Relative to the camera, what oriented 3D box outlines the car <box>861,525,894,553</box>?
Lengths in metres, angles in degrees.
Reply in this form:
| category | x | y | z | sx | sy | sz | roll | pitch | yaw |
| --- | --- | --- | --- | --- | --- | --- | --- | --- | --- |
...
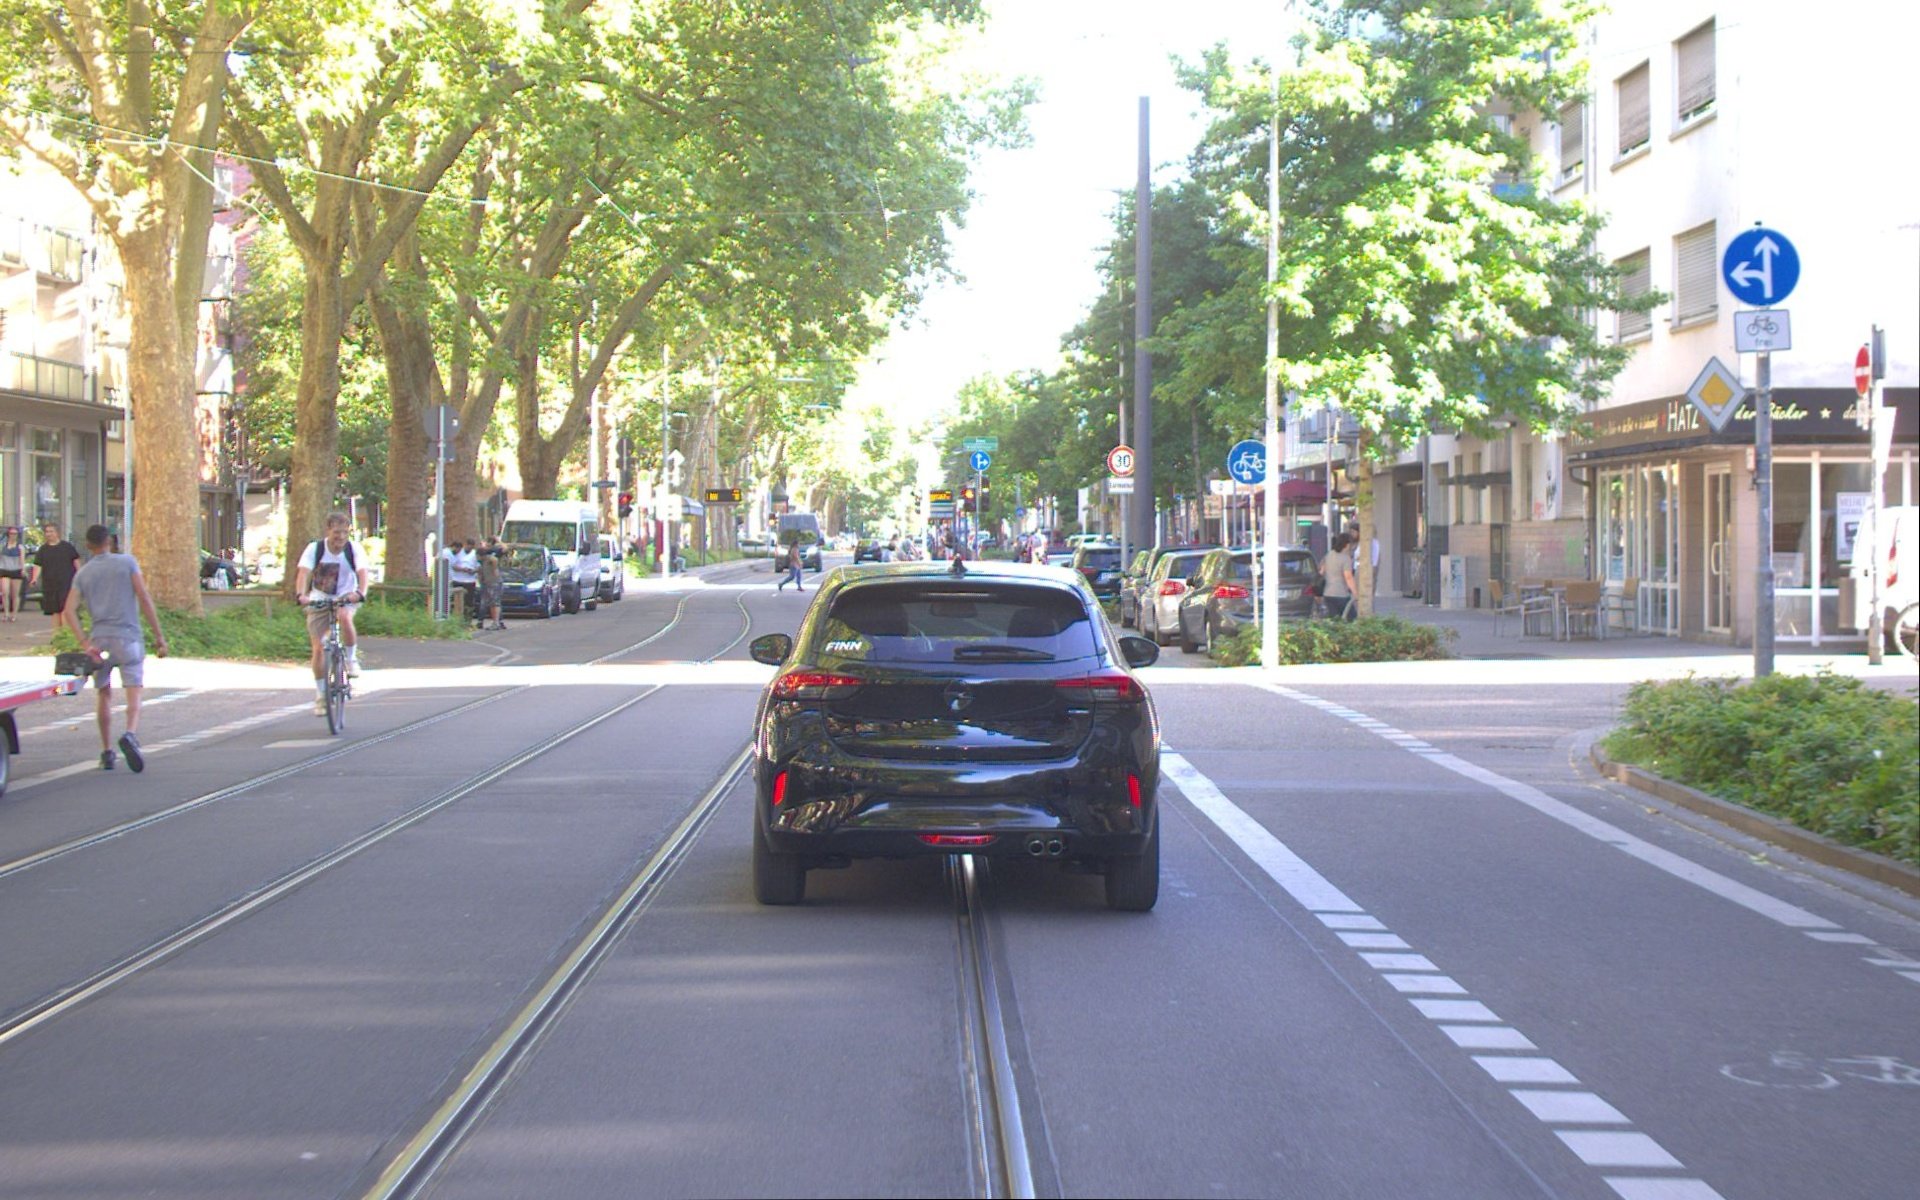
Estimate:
| category | x | y | z | sx | sy | sz | roll | pitch | yaw |
| --- | --- | --- | --- | --- | --- | --- | --- | --- | --- |
| car | -4.786 | -3.566 | 200.613 | 1.750 | 1.646 | 4.000 | 0 | 1 | 1 |

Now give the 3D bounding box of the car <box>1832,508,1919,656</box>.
| category | x | y | z | sx | sy | sz | roll | pitch | yaw |
| --- | --- | --- | --- | --- | --- | --- | --- | --- | --- |
| car | 13.513 | -0.255 | 43.577 | 4.358 | 1.824 | 2.000 | 0 | 1 | -4 |

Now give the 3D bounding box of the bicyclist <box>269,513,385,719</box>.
| category | x | y | z | sx | sy | sz | roll | pitch | yaw |
| --- | --- | --- | --- | --- | --- | --- | --- | --- | --- |
| bicyclist | -5.229 | 0.119 | 28.434 | 0.784 | 1.672 | 0.957 | 0 | 1 | -1 |

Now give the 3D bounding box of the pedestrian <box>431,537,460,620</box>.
| category | x | y | z | sx | sy | sz | roll | pitch | yaw |
| --- | --- | --- | --- | --- | --- | --- | --- | --- | --- |
| pedestrian | -9.784 | -0.416 | 65.350 | 0.506 | 1.577 | 0.527 | 0 | 1 | -4 |

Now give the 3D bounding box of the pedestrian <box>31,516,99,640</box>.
| category | x | y | z | sx | sy | sz | roll | pitch | yaw |
| --- | --- | --- | --- | --- | --- | --- | --- | --- | --- |
| pedestrian | -13.536 | -0.338 | 52.008 | 0.905 | 1.862 | 0.644 | 0 | 1 | -6 |

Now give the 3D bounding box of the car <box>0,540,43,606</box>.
| category | x | y | z | sx | sy | sz | roll | pitch | yaw |
| --- | --- | --- | --- | --- | --- | --- | --- | --- | --- |
| car | -19.907 | -0.559 | 69.604 | 1.695 | 1.272 | 3.828 | 0 | 1 | -1 |

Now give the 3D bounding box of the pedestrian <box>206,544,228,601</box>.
| category | x | y | z | sx | sy | sz | roll | pitch | yaw |
| --- | --- | --- | --- | --- | --- | --- | --- | --- | --- |
| pedestrian | -20.757 | -0.768 | 96.038 | 0.506 | 1.577 | 0.527 | 0 | 1 | -3 |

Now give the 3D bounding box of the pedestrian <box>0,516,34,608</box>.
| category | x | y | z | sx | sy | sz | roll | pitch | yaw |
| --- | --- | --- | --- | --- | --- | --- | --- | --- | --- |
| pedestrian | -17.179 | -0.692 | 62.330 | 0.552 | 1.646 | 0.649 | 0 | 1 | 3 |

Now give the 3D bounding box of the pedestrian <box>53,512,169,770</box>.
| category | x | y | z | sx | sy | sz | roll | pitch | yaw |
| --- | --- | --- | --- | --- | --- | --- | --- | --- | --- |
| pedestrian | -5.892 | 0.270 | 23.837 | 0.711 | 1.729 | 0.913 | -2 | 1 | -15 |

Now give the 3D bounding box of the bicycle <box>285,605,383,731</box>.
| category | x | y | z | sx | sy | sz | roll | pitch | yaw |
| --- | --- | --- | --- | --- | --- | --- | --- | --- | --- |
| bicycle | -5.170 | 0.545 | 28.478 | 0.520 | 0.959 | 1.929 | 0 | 1 | -2 |

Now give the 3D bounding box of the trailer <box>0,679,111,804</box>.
| category | x | y | z | sx | sy | sz | roll | pitch | yaw |
| --- | --- | --- | --- | --- | --- | --- | --- | --- | --- |
| trailer | -6.819 | 0.917 | 20.167 | 2.160 | 0.629 | 6.400 | 0 | 1 | -1 |

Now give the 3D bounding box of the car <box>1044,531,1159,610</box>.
| category | x | y | z | sx | sy | sz | roll | pitch | yaw |
| --- | --- | --- | --- | --- | --- | --- | --- | --- | --- |
| car | 2.986 | -0.646 | 73.260 | 1.993 | 1.634 | 4.001 | 0 | 1 | -4 |

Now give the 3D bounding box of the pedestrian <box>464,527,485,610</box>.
| category | x | y | z | sx | sy | sz | roll | pitch | yaw |
| --- | --- | --- | --- | --- | --- | --- | --- | --- | --- |
| pedestrian | -9.244 | -0.604 | 65.431 | 0.346 | 1.577 | 0.508 | 0 | 1 | -2 |

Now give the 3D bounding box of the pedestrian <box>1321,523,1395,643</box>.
| category | x | y | z | sx | sy | sz | roll | pitch | yaw |
| --- | --- | --- | --- | --- | --- | --- | --- | --- | --- |
| pedestrian | 5.399 | -0.239 | 46.568 | 0.855 | 1.611 | 0.770 | 0 | 1 | 18 |

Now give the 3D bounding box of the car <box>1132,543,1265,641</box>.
| category | x | y | z | sx | sy | sz | roll | pitch | yaw |
| --- | --- | --- | --- | --- | --- | --- | --- | --- | --- |
| car | 3.745 | -0.157 | 54.473 | 1.718 | 1.485 | 3.682 | 0 | 1 | -2 |

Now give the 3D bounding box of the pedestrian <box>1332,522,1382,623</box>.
| category | x | y | z | sx | sy | sz | roll | pitch | yaw |
| --- | --- | --- | --- | --- | --- | --- | --- | --- | --- |
| pedestrian | 6.856 | -0.478 | 59.447 | 0.793 | 1.742 | 0.770 | 0 | 1 | 2 |

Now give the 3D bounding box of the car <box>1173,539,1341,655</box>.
| category | x | y | z | sx | sy | sz | roll | pitch | yaw |
| --- | --- | --- | --- | --- | --- | --- | --- | --- | --- |
| car | 4.180 | -0.077 | 48.936 | 1.718 | 1.568 | 4.085 | 0 | 1 | -4 |

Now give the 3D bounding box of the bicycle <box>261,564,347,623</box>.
| category | x | y | z | sx | sy | sz | roll | pitch | yaw |
| --- | --- | --- | --- | --- | --- | --- | --- | --- | --- |
| bicycle | -12.459 | -0.129 | 65.299 | 1.694 | 1.058 | 0.452 | 2 | 0 | 30 |

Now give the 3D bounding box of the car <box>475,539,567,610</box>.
| category | x | y | z | sx | sy | sz | roll | pitch | yaw |
| --- | --- | --- | --- | --- | --- | --- | --- | --- | --- |
| car | -9.556 | -0.577 | 74.977 | 1.754 | 1.503 | 4.001 | 0 | 1 | -4 |

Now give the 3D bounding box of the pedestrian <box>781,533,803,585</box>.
| category | x | y | z | sx | sy | sz | roll | pitch | yaw |
| --- | --- | --- | --- | --- | --- | --- | --- | --- | --- |
| pedestrian | -5.083 | -1.249 | 104.169 | 0.594 | 1.584 | 0.893 | -1 | 1 | -7 |

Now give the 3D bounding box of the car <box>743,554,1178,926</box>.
| category | x | y | z | sx | sy | sz | roll | pitch | yaw |
| --- | --- | --- | --- | --- | --- | --- | --- | --- | --- |
| car | -0.030 | 0.527 | 15.324 | 1.679 | 1.417 | 3.628 | 1 | 1 | -1 |

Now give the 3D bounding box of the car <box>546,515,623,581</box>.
| category | x | y | z | sx | sy | sz | roll | pitch | yaw |
| --- | --- | --- | --- | --- | --- | --- | --- | --- | --- |
| car | -10.081 | -1.411 | 92.287 | 1.993 | 1.711 | 4.001 | 0 | 1 | -6 |

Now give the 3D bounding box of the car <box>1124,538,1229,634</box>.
| category | x | y | z | sx | sy | sz | roll | pitch | yaw |
| --- | --- | --- | --- | --- | --- | --- | --- | --- | --- |
| car | 3.672 | -0.259 | 58.631 | 1.651 | 1.568 | 3.083 | 0 | 1 | 1 |

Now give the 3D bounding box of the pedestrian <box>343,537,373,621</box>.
| category | x | y | z | sx | sy | sz | roll | pitch | yaw |
| --- | --- | --- | --- | --- | --- | --- | --- | --- | --- |
| pedestrian | -11.477 | -0.402 | 65.531 | 0.506 | 1.577 | 0.527 | 0 | 1 | -14 |

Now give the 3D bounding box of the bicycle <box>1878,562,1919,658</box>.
| category | x | y | z | sx | sy | sz | roll | pitch | yaw |
| --- | --- | --- | --- | --- | --- | --- | --- | --- | --- |
| bicycle | 11.795 | 0.112 | 40.402 | 1.836 | 1.113 | 0.703 | 0 | 1 | 3 |

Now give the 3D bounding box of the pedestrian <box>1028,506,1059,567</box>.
| category | x | y | z | sx | sy | sz | roll | pitch | yaw |
| --- | --- | --- | --- | --- | --- | --- | --- | --- | --- |
| pedestrian | 2.856 | -2.169 | 117.698 | 0.856 | 2.007 | 1.069 | -5 | 0 | 0 |

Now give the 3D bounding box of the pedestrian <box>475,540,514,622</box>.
| category | x | y | z | sx | sy | sz | roll | pitch | yaw |
| --- | --- | --- | --- | --- | --- | --- | --- | --- | --- |
| pedestrian | -8.941 | -0.367 | 66.050 | 0.683 | 1.577 | 0.557 | 0 | 1 | -2 |

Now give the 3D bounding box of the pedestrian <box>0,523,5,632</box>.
| category | x | y | z | sx | sy | sz | roll | pitch | yaw |
| --- | --- | --- | --- | --- | --- | --- | --- | --- | --- |
| pedestrian | -14.838 | -0.333 | 51.611 | 0.846 | 1.627 | 0.644 | 0 | 1 | -6 |

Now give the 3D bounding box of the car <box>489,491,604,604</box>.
| category | x | y | z | sx | sy | sz | roll | pitch | yaw |
| --- | --- | --- | --- | --- | --- | --- | --- | --- | --- |
| car | -9.725 | -1.255 | 81.302 | 2.092 | 2.575 | 5.997 | 0 | 1 | -1 |

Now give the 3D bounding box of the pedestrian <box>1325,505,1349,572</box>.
| category | x | y | z | sx | sy | sz | roll | pitch | yaw |
| --- | --- | --- | --- | --- | --- | --- | --- | --- | --- |
| pedestrian | 9.823 | -1.610 | 89.613 | 0.629 | 1.727 | 0.632 | 0 | 1 | 6 |

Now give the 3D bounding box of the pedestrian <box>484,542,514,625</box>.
| category | x | y | z | sx | sy | sz | roll | pitch | yaw |
| --- | --- | --- | --- | --- | --- | --- | --- | --- | --- |
| pedestrian | -8.766 | -0.321 | 65.360 | 0.506 | 1.577 | 0.527 | 0 | 1 | -1 |
